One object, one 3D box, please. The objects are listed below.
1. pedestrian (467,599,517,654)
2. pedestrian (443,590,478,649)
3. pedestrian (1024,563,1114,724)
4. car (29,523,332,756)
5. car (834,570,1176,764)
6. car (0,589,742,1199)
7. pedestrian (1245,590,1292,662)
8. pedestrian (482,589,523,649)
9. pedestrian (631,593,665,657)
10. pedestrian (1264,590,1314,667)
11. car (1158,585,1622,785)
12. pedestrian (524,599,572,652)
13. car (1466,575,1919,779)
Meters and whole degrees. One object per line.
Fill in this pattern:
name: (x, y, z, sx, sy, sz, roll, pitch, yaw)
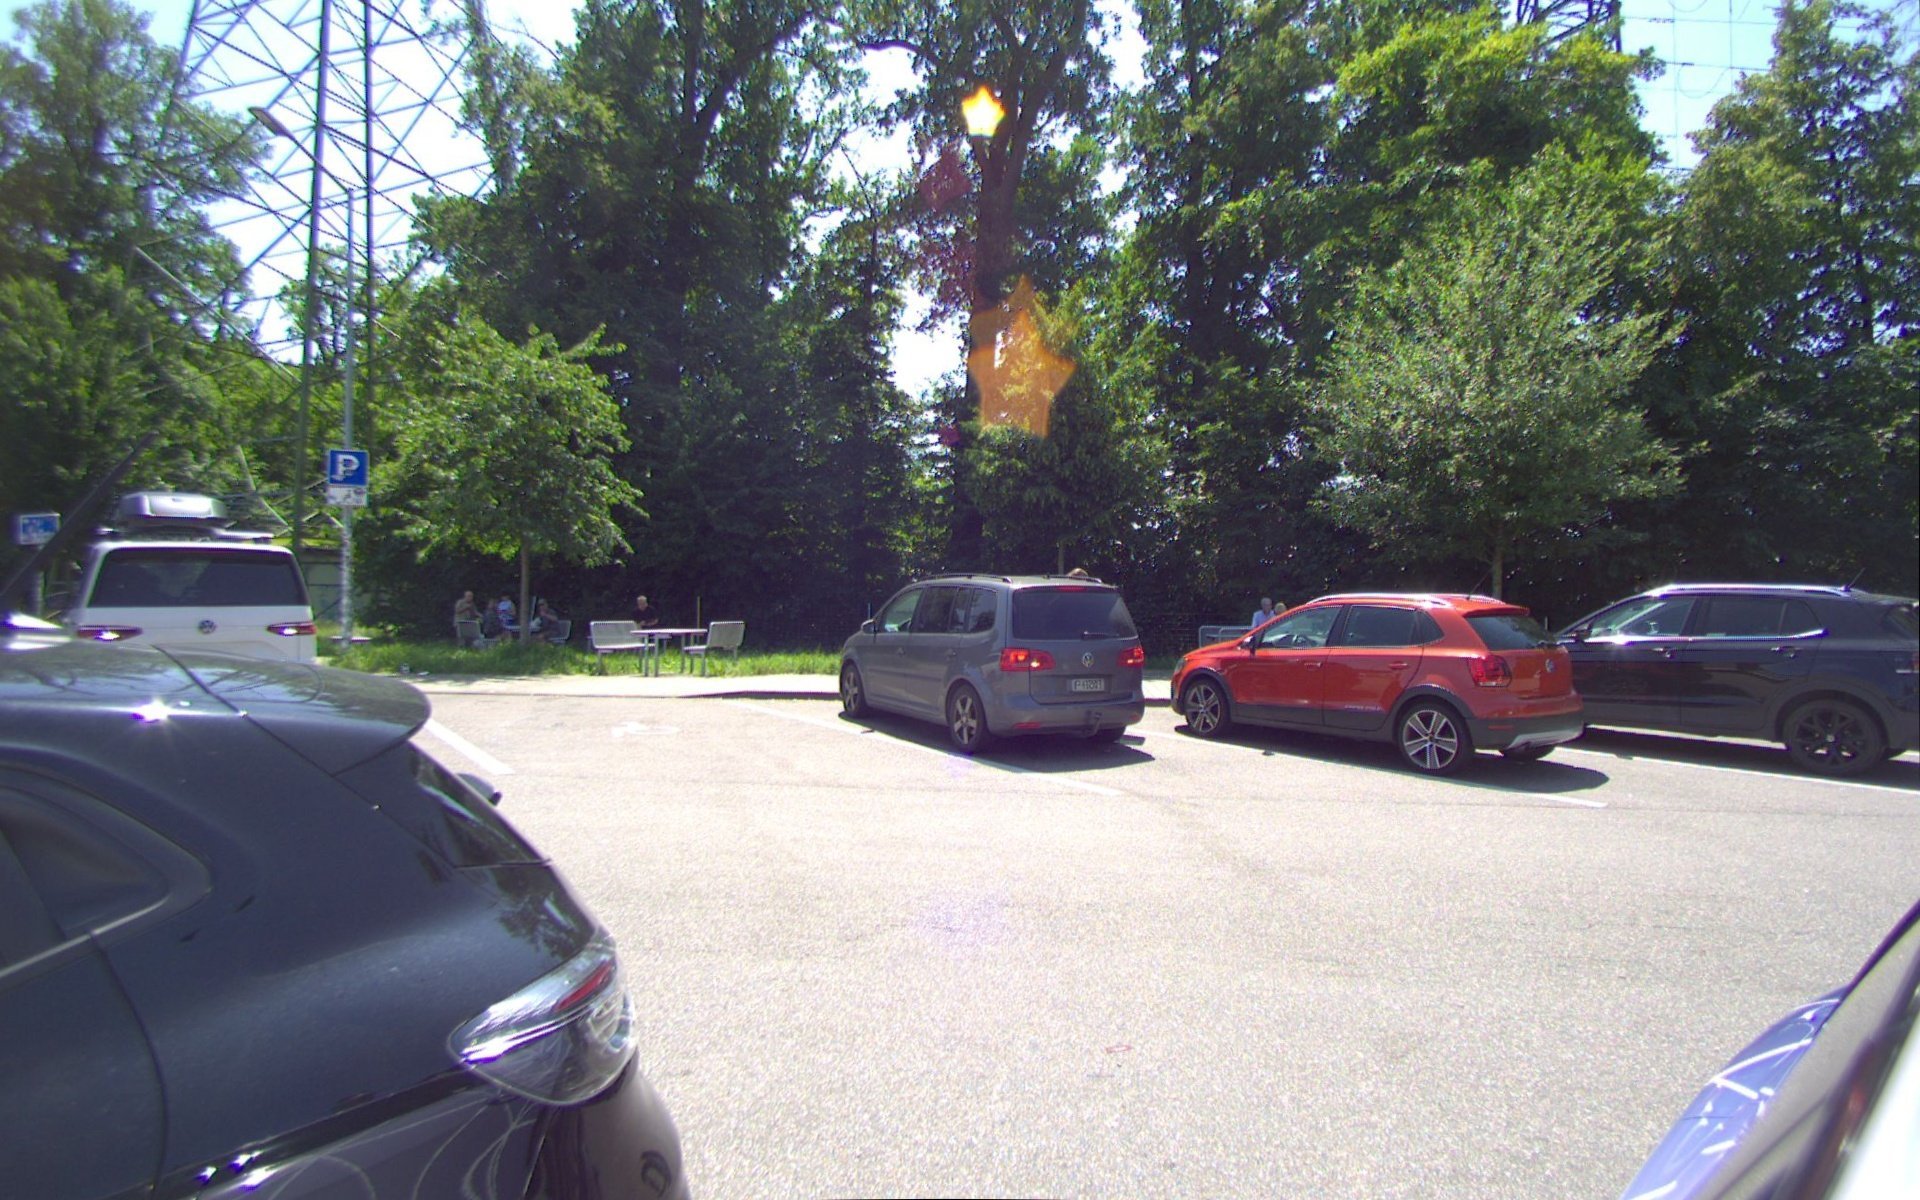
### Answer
pedestrian: (-10.531, 0.587, 22.775, 0.873, 1.192, 0.668, 0, 0, -41)
pedestrian: (-12.225, 0.462, 24.771, 0.657, 1.422, 0.649, 0, 0, -39)
pedestrian: (1.228, 0.460, 11.288, 0.727, 1.703, 0.911, 0, 0, 27)
car: (-8.370, 0.285, 10.696, 4.549, 1.936, 1.882, 1, 1, 44)
car: (0.240, 0.516, 10.522, 1.713, 1.601, 3.996, 0, 1, -29)
car: (-2.217, 0.720, 0.603, 1.737, 1.501, 3.757, 0, 0, 44)
pedestrian: (5.772, 0.474, 18.970, 0.657, 1.311, 0.783, 0, 0, 3)
pedestrian: (-11.062, 0.459, 24.492, 0.664, 1.422, 0.643, 0, 0, 32)
pedestrian: (-6.560, 0.519, 21.284, 0.655, 1.311, 0.786, 0, 0, -16)
pedestrian: (5.767, 0.485, 17.770, 0.657, 1.311, 0.783, 0, 0, 3)
car: (3.840, 0.608, 9.652, 1.687, 1.484, 3.793, 0, 1, -32)
pedestrian: (-9.615, 0.574, 23.629, 0.873, 1.192, 0.668, 0, 0, -41)
car: (7.166, 0.573, 9.711, 1.690, 1.593, 3.787, 0, 1, -39)
